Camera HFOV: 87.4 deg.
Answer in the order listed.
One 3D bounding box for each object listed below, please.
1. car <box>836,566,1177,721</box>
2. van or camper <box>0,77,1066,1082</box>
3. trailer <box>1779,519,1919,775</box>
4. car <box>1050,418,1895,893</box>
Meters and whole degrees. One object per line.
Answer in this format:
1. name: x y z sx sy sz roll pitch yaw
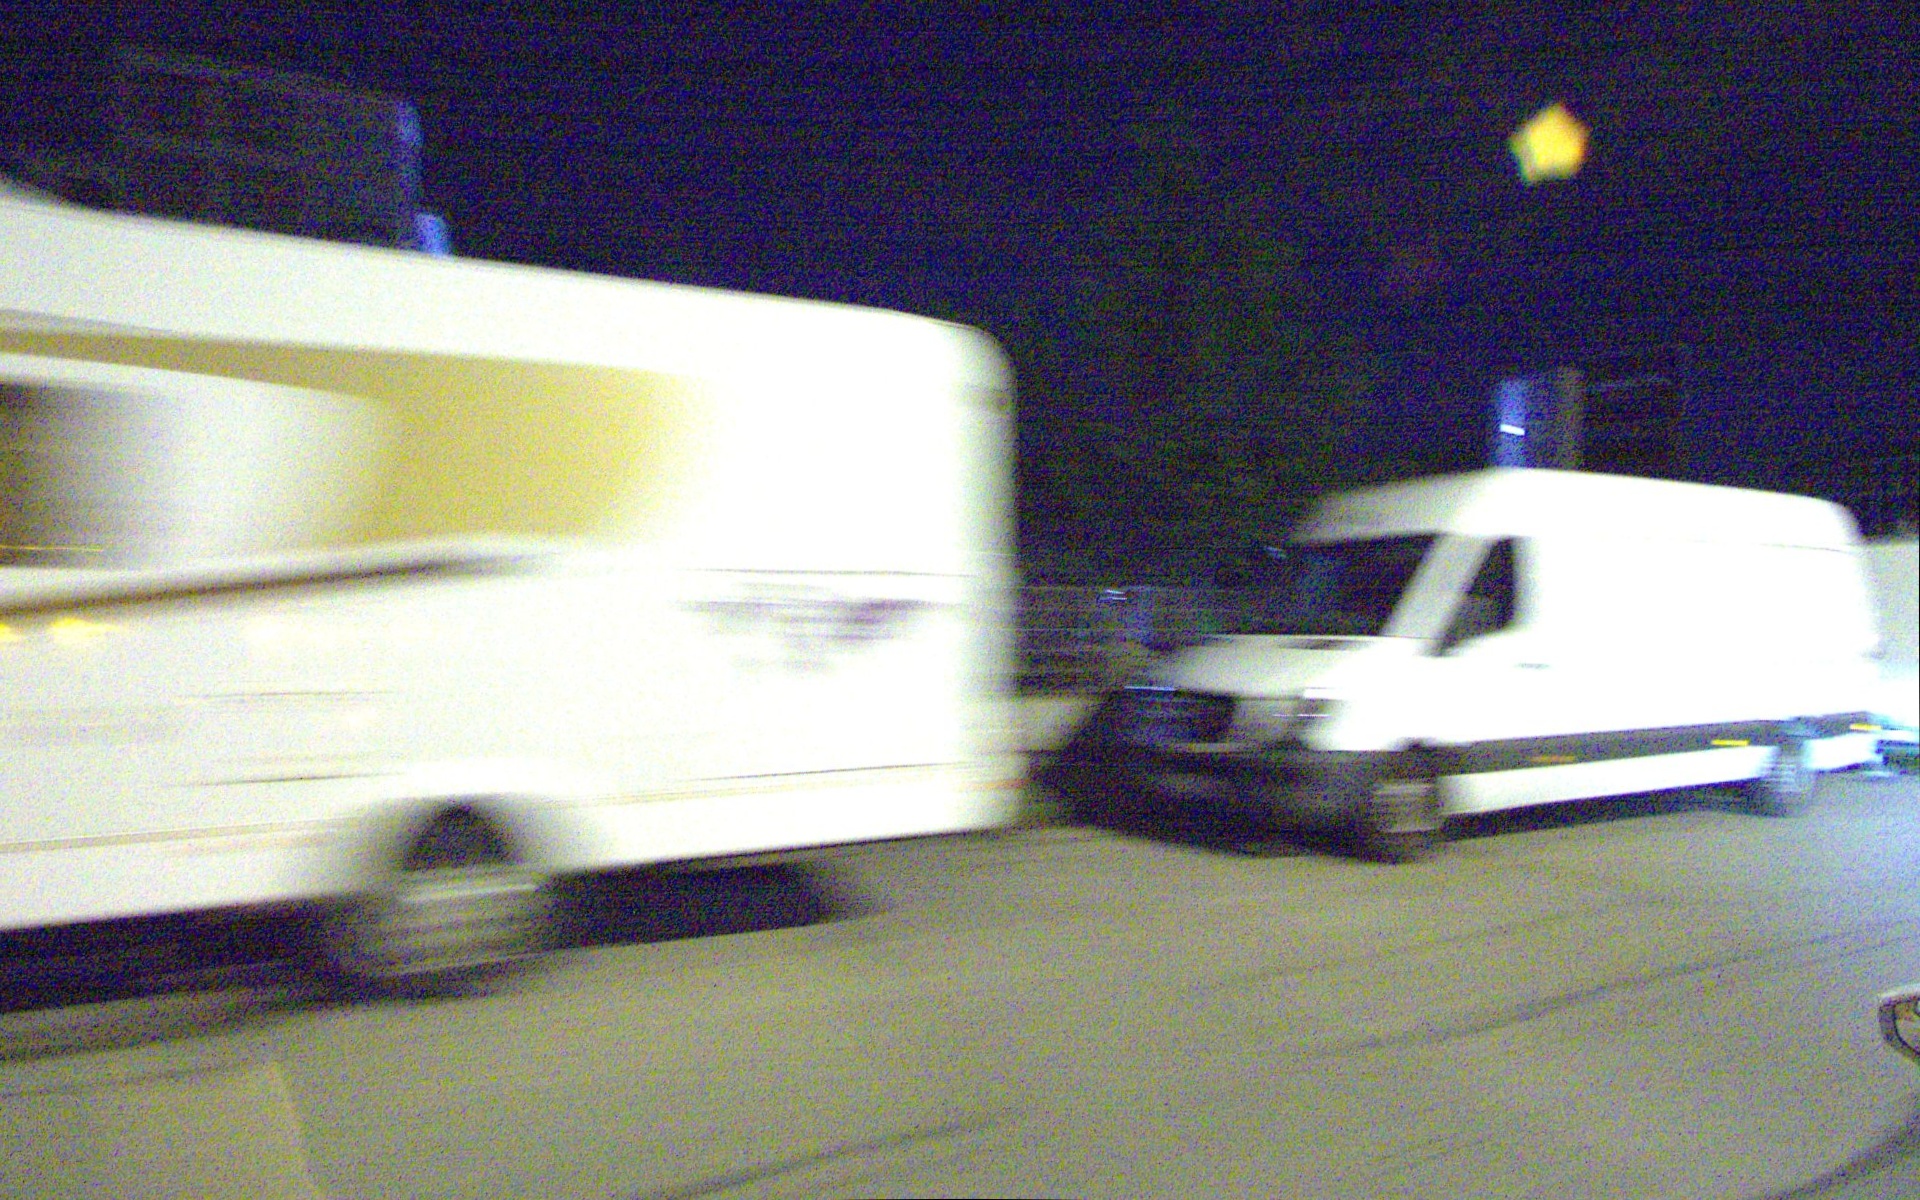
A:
1. car: 0.901 0.822 20.402 6.548 2.880 2.000 1 2 0
2. van or camper: -3.371 -0.050 4.340 7.340 3.135 2.513 1 -1 -23
3. trailer: 11.122 0.504 11.010 3.519 2.561 1.988 1 -1 -24
4. car: 4.392 0.396 8.262 6.997 2.640 2.511 1 -1 -26
